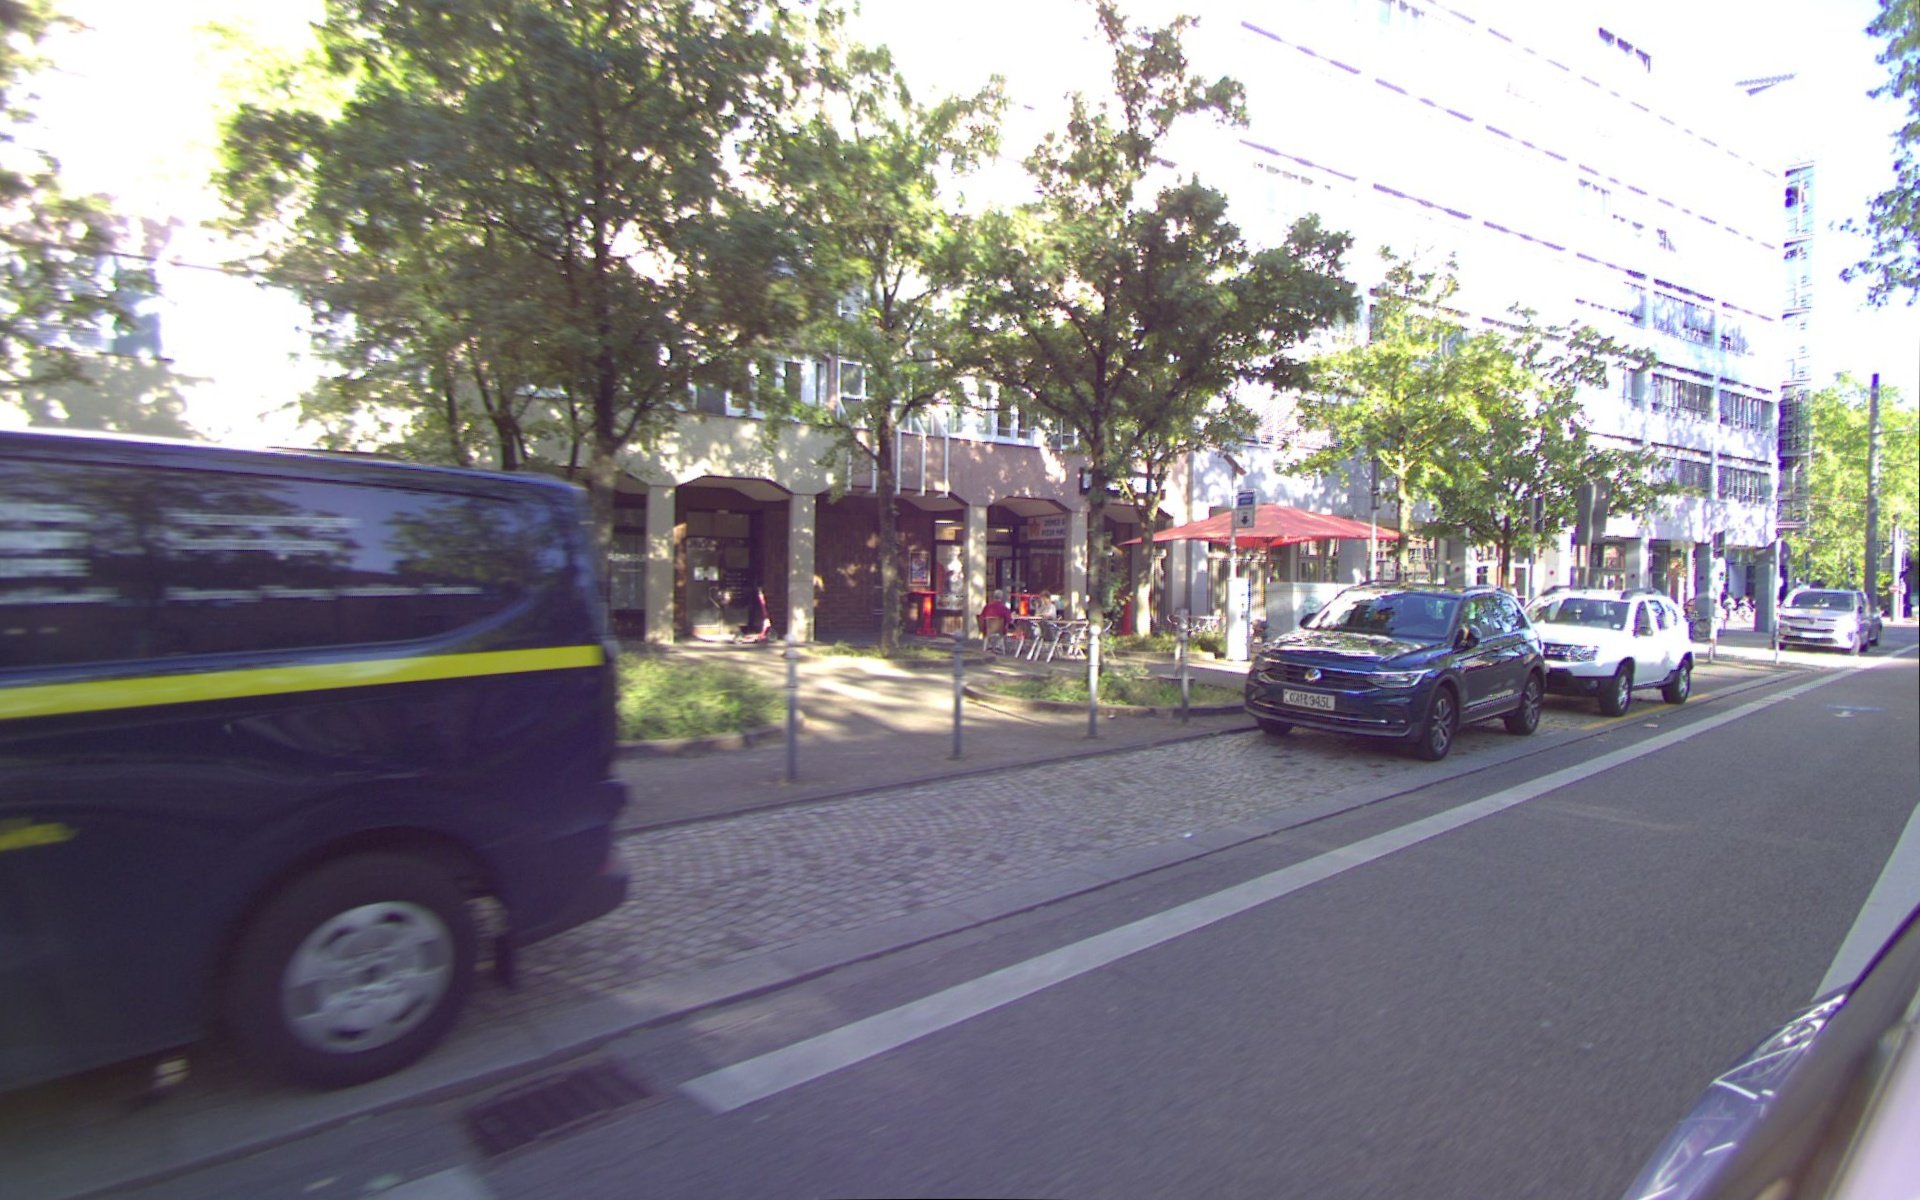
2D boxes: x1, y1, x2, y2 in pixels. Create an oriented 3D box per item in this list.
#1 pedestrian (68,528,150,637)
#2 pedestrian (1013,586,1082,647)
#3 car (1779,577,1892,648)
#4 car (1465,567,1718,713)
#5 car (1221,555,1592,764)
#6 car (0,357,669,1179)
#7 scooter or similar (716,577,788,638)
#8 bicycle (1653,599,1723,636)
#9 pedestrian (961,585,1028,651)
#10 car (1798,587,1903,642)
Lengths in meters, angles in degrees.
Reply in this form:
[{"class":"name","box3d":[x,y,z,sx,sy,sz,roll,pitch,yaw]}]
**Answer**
[{"class":"pedestrian","box3d":[-15.197,-0.305,18.091,0.874,1.895,0.727,1,0,-14]},{"class":"pedestrian","box3d":[1.817,0.335,21.068,1.101,1.228,0.889,0,0,-32]},{"class":"car","box3d":[26.396,0.334,30.467,4.777,1.928,1.921,0,3,-42]},{"class":"car","box3d":[9.129,0.474,14.476,4.382,1.745,1.802,0,3,-41]},{"class":"car","box3d":[4.883,0.485,10.748,4.494,1.745,1.802,0,3,-41]},{"class":"car","box3d":[-3.594,0.357,2.569,5.111,1.967,2.040,0,3,-43]},{"class":"scooter or similar","box3d":[-4.412,0.150,21.493,1.337,1.271,0.668,0,0,-34]},{"class":"bicycle","box3d":[23.846,0.559,33.167,0.655,1.120,1.775,1,1,-42]},{"class":"pedestrian","box3d":[0.694,0.338,20.234,0.951,1.266,0.931,1,1,-38]},{"class":"car","box3d":[30.292,0.468,34.405,3.943,1.661,1.923,0,2,-38]}]
